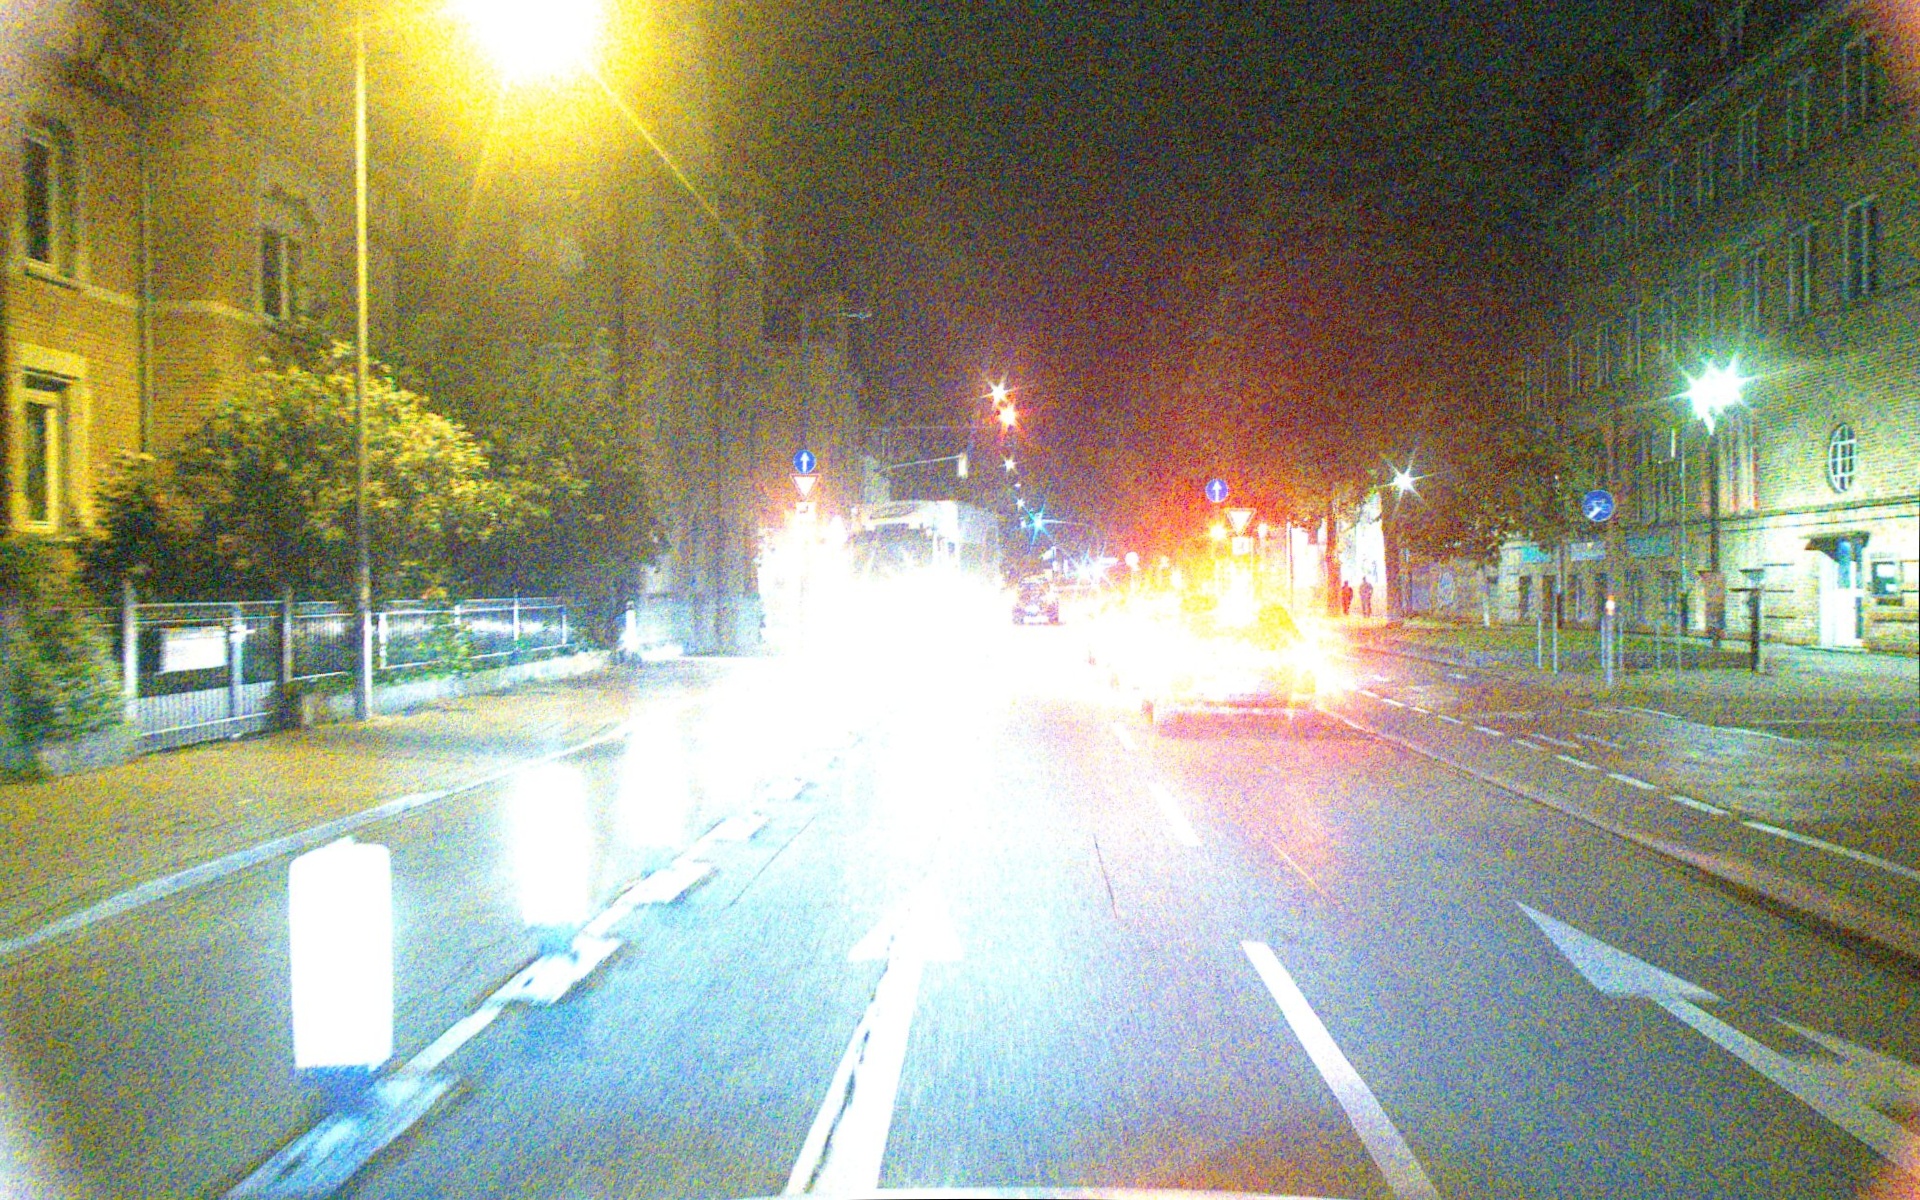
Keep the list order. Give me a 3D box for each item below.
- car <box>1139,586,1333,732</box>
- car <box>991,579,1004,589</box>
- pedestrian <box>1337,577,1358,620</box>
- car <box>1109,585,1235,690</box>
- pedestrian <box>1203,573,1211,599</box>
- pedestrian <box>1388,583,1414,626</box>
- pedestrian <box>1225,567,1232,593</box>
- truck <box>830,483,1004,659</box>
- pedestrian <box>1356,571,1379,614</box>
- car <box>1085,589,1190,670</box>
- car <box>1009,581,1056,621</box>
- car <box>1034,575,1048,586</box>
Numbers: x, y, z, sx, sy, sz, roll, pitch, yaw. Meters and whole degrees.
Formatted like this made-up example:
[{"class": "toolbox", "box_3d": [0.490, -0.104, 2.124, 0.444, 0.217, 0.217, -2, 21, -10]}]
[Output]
[{"class": "car", "box_3d": [3.200, 0.615, 20.029, 1.767, 1.520, 4.731, 1, 0, 3]}, {"class": "car", "box_3d": [5.491, -2.370, 241.756, 1.741, 1.414, 4.000, -1, 1, 0]}, {"class": "pedestrian", "box_3d": [16.619, -0.058, 70.932, 0.699, 1.800, 0.907, -1, 0, 2]}, {"class": "car", "box_3d": [3.290, 0.532, 26.283, 1.603, 1.520, 4.001, 1, 0, 2]}, {"class": "pedestrian", "box_3d": [19.351, -1.101, 129.690, 0.520, 2.049, 0.670, -1, 0, 2]}, {"class": "pedestrian", "box_3d": [18.869, 0.169, 70.757, 0.882, 1.800, 0.907, -1, 0, 2]}, {"class": "pedestrian", "box_3d": [21.159, -1.583, 130.305, 0.477, 2.049, 0.551, -1, 0, 2]}, {"class": "truck", "box_3d": [-0.817, -0.688, 41.507, 2.696, 3.782, 10.121, -2, 0, 8]}, {"class": "pedestrian", "box_3d": [17.483, -0.319, 70.976, 0.723, 1.800, 0.907, -1, 0, 2]}, {"class": "car", "box_3d": [3.460, 0.532, 32.935, 1.693, 1.460, 4.211, 1, 0, 1]}, {"class": "car", "box_3d": [3.178, 0.023, 72.923, 1.952, 1.668, 4.000, -1, 0, 1]}, {"class": "car", "box_3d": [12.536, -3.029, 255.945, 1.953, 1.624, 4.000, -1, 0, 0]}]
